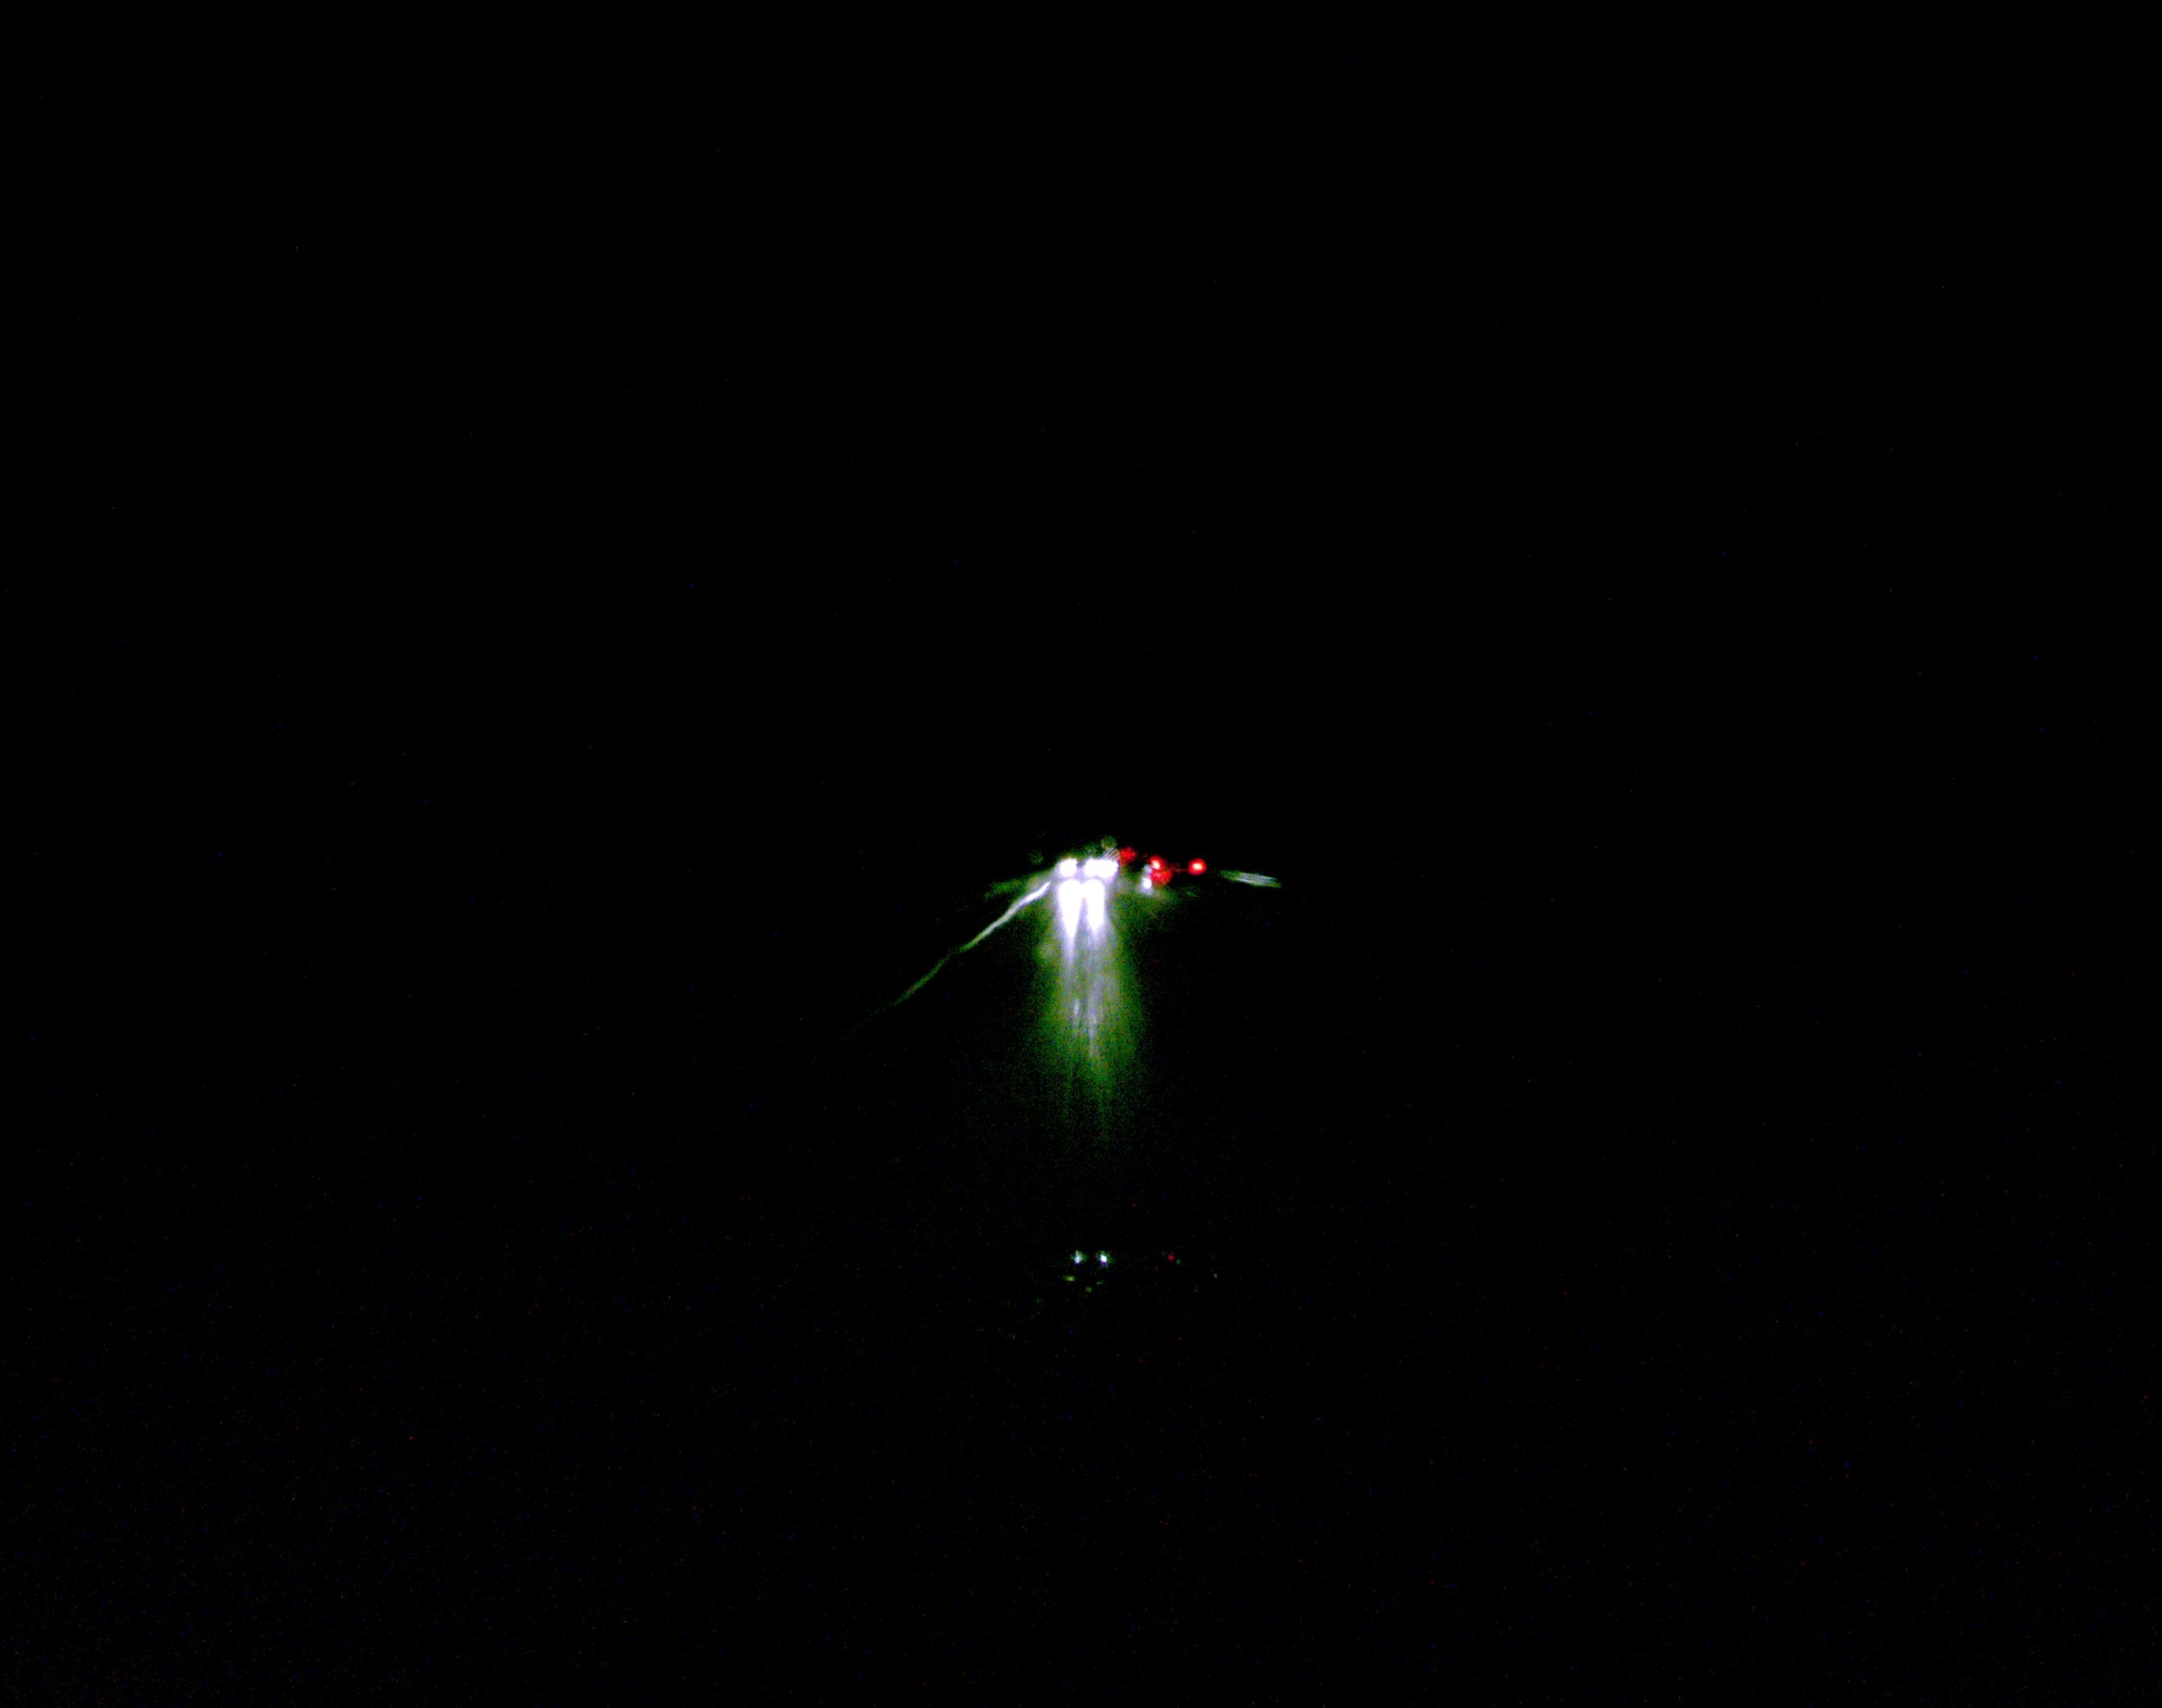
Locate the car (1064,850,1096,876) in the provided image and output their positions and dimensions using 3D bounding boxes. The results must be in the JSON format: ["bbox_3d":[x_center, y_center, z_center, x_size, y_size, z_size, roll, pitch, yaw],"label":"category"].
[{"bbox_3d":[-0.018,0.605,48.705,1.901,1.551,4.001,-2,-1,1],"label":"car"}]

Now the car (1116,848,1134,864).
[{"bbox_3d":[4.479,0.204,77.601,1.638,1.571,3.745,-2,-1,1],"label":"car"}]

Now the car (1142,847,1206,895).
[{"bbox_3d":[3.590,0.666,30.083,1.999,1.771,4.000,1,-1,-1],"label":"car"}]
